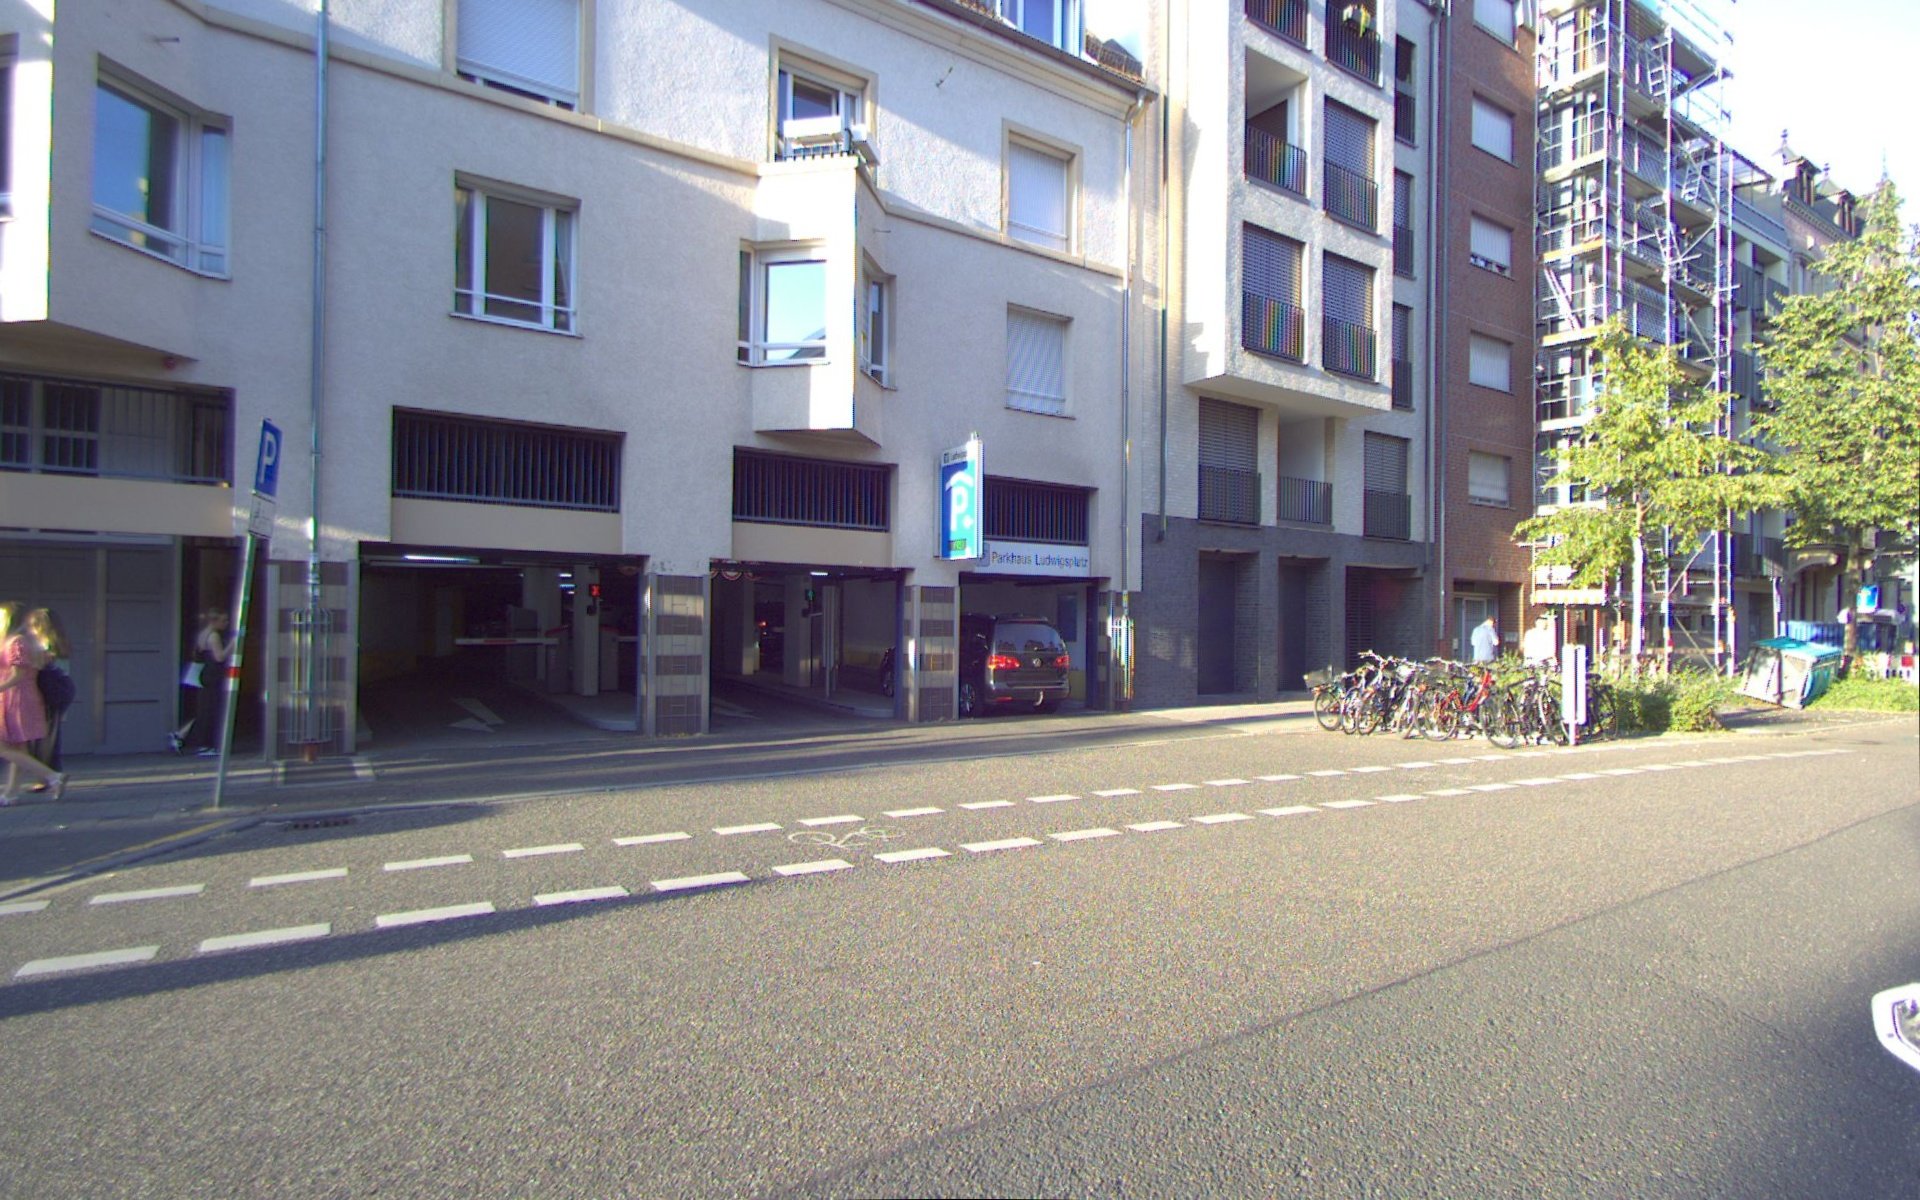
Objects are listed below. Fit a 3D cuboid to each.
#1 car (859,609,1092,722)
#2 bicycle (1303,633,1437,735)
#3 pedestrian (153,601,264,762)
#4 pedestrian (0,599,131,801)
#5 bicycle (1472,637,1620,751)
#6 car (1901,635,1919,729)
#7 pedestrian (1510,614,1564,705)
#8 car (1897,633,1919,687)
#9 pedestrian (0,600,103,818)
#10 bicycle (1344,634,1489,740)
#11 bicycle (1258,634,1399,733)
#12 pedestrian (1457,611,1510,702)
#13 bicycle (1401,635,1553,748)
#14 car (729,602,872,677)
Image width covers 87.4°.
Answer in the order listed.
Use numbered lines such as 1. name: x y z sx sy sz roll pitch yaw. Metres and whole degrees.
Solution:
1. car: 0.110 1.032 17.578 1.978 1.623 4.471 2 0 -31
2. bicycle: 6.321 1.230 15.346 3.138 1.414 0.579 2 0 -43
3. pedestrian: -8.088 0.851 10.849 0.845 1.637 0.713 2 0 -31
4. pedestrian: -7.886 0.841 8.760 0.845 1.663 0.713 2 0 -29
5. bicycle: 7.953 1.193 13.533 3.164 1.368 0.836 2 -2 -43
6. car: 17.115 1.334 16.202 4.284 1.460 1.828 2 -2 -32
7. pedestrian: 11.595 1.172 20.197 0.733 1.763 0.710 2 0 -42
8. car: 28.255 1.723 27.051 1.868 1.485 4.081 2 0 -32
9. pedestrian: -7.521 0.845 8.074 0.846 1.663 0.712 2 0 -35
10. bicycle: 6.792 1.225 14.833 3.120 1.391 0.773 2 0 -43
11. bicycle: 5.872 1.261 15.846 3.130 1.414 0.714 2 0 -43
12. pedestrian: 10.677 1.130 20.494 0.689 1.790 0.710 2 0 -41
13. bicycle: 7.363 1.223 14.201 3.143 1.414 0.884 2 -1 -43
14. car: -4.047 0.915 24.867 1.977 1.623 4.472 2 0 -30
